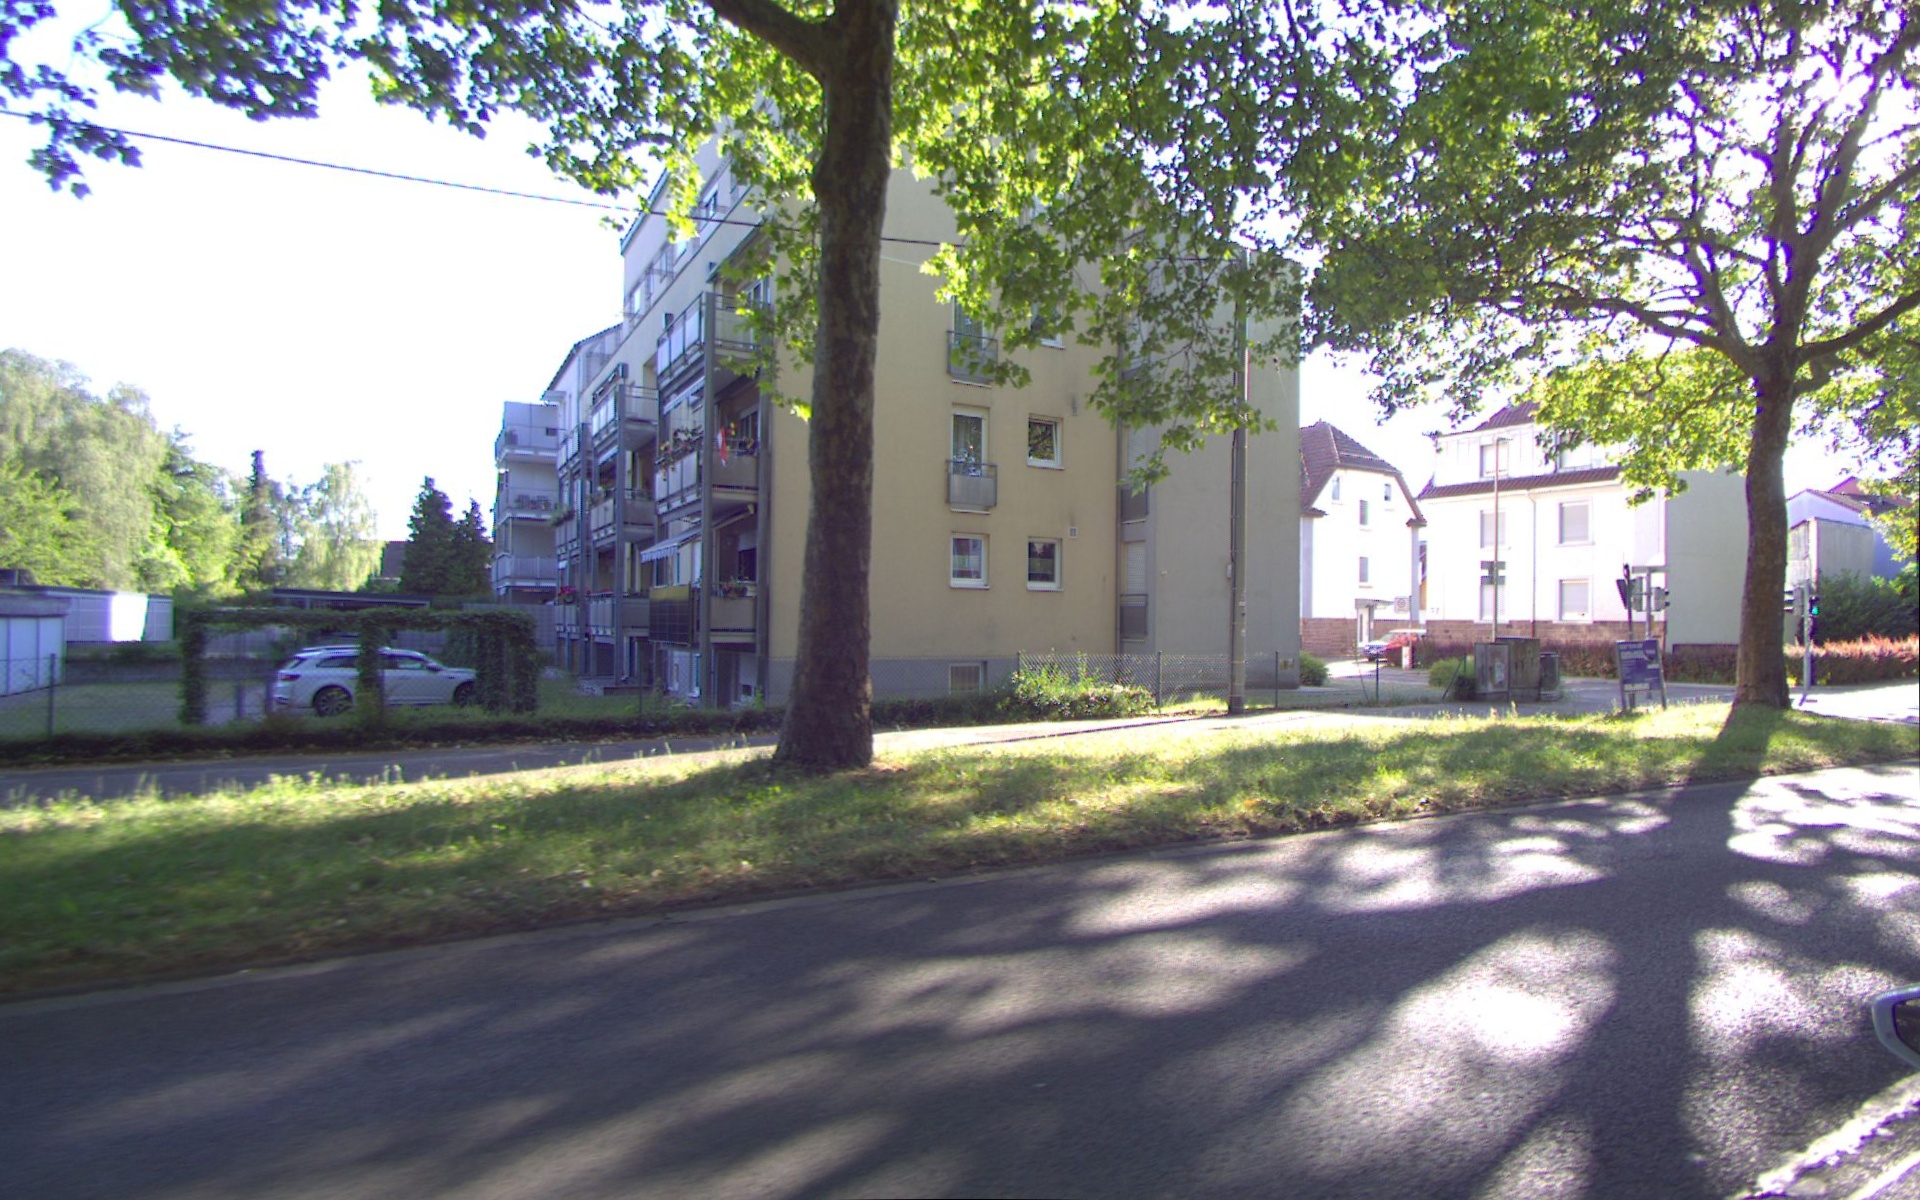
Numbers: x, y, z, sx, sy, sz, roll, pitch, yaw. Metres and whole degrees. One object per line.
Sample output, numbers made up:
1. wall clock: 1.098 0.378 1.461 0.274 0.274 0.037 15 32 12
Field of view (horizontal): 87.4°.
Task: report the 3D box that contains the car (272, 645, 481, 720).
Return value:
1. car: -13.598 1.871 23.559 4.074 1.567 1.873 1 -2 -33
